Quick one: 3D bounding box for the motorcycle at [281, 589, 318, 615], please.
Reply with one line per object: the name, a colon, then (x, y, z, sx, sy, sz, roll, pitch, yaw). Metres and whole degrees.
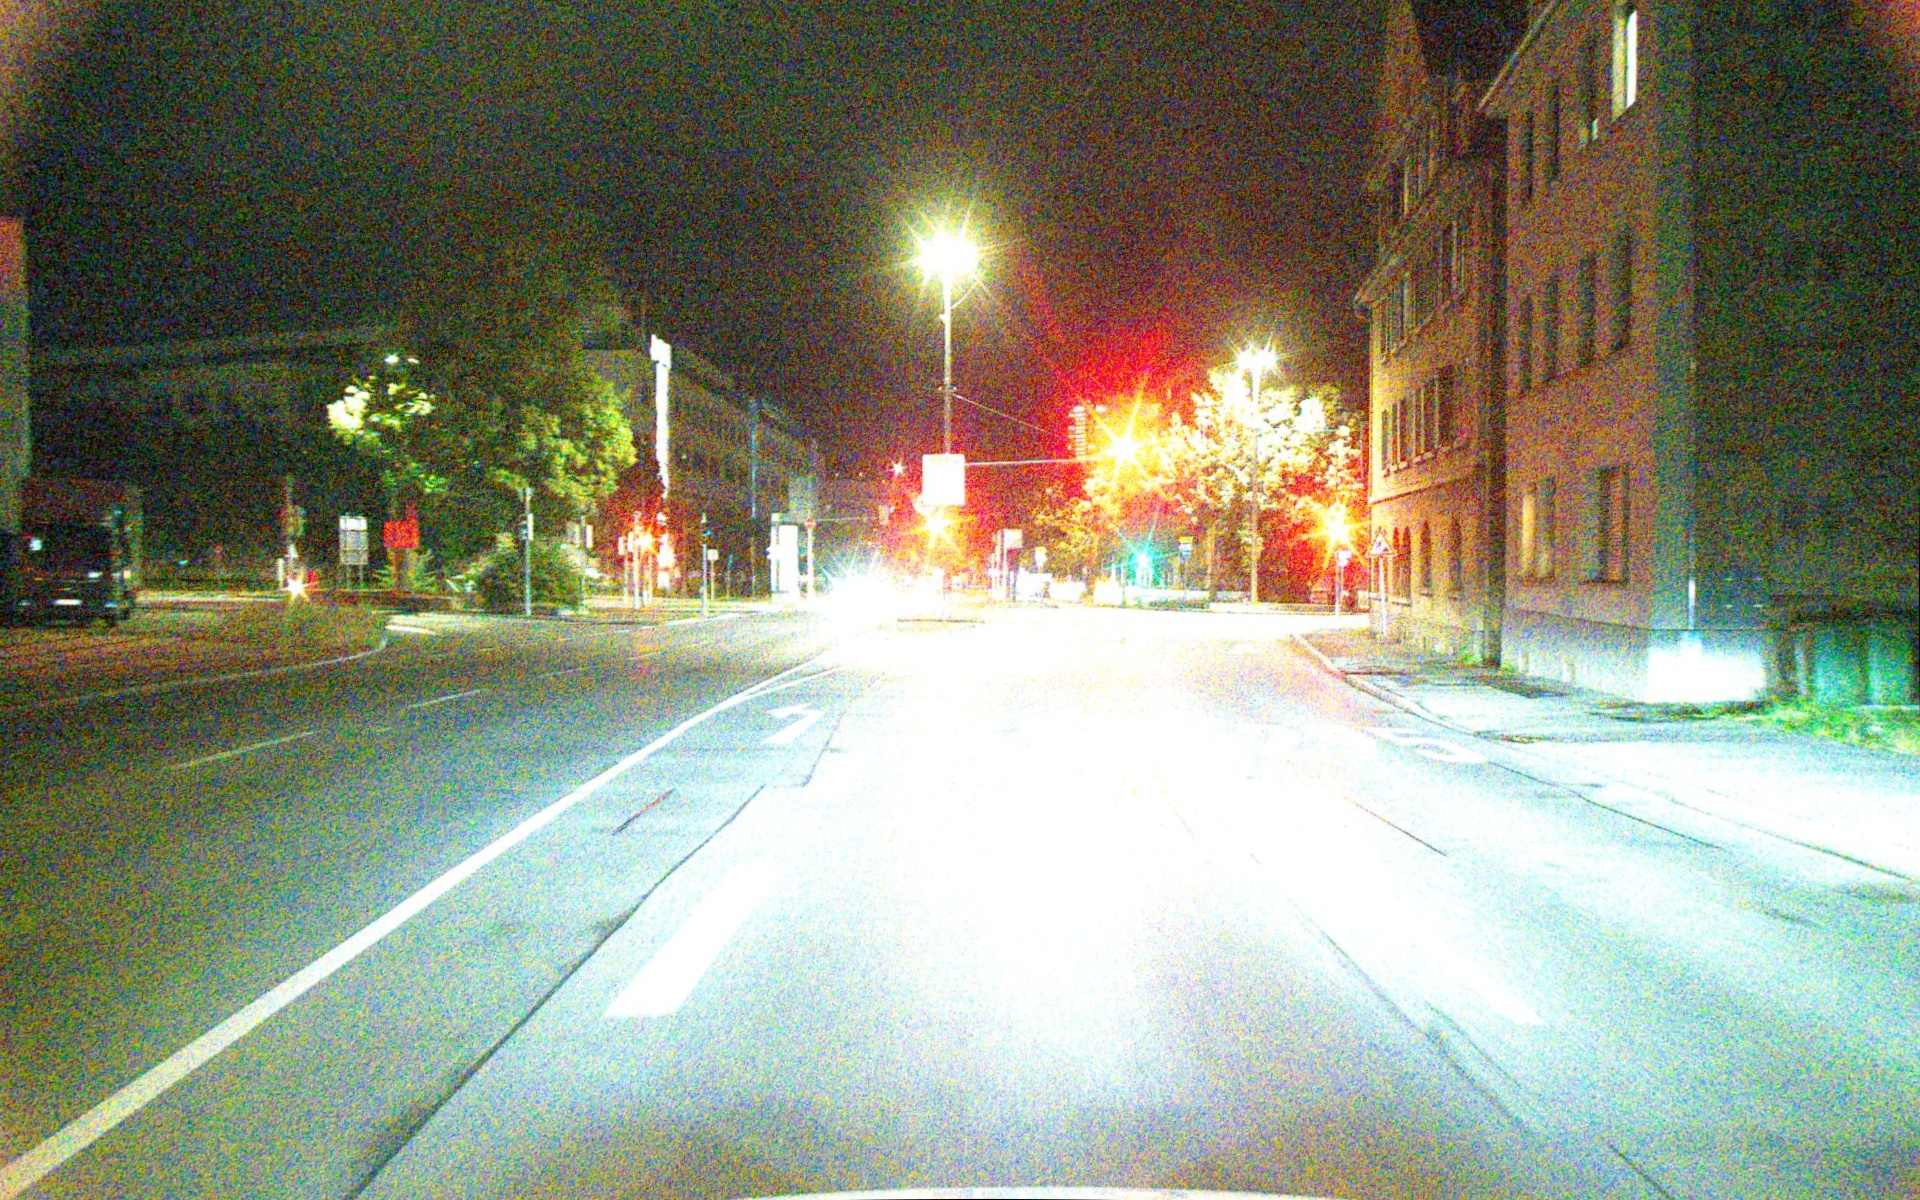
motorcycle: (-23.554, 0.060, 58.936, 0.574, 0.911, 2.124, -2, 2, -40)

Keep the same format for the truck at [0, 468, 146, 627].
truck: (-24.117, -1.297, 45.281, 2.900, 3.863, 9.485, 1, 0, -24)

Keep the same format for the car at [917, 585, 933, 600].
car: (-4.282, -0.927, 200.767, 1.721, 1.758, 3.548, 1, 0, 2)

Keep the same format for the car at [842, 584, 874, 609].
car: (-6.411, -0.228, 104.038, 1.582, 1.541, 4.001, 1, 0, 2)

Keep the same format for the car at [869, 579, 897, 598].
car: (-5.527, -0.828, 118.421, 1.721, 1.345, 3.548, 1, 0, 2)

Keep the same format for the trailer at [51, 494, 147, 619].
trailer: (-28.414, -1.366, 54.782, 2.582, 3.857, 6.459, 1, 0, -26)

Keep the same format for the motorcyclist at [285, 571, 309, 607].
motorcyclist: (-23.528, -0.396, 58.683, 0.643, 1.283, 0.570, 1, 0, -41)
